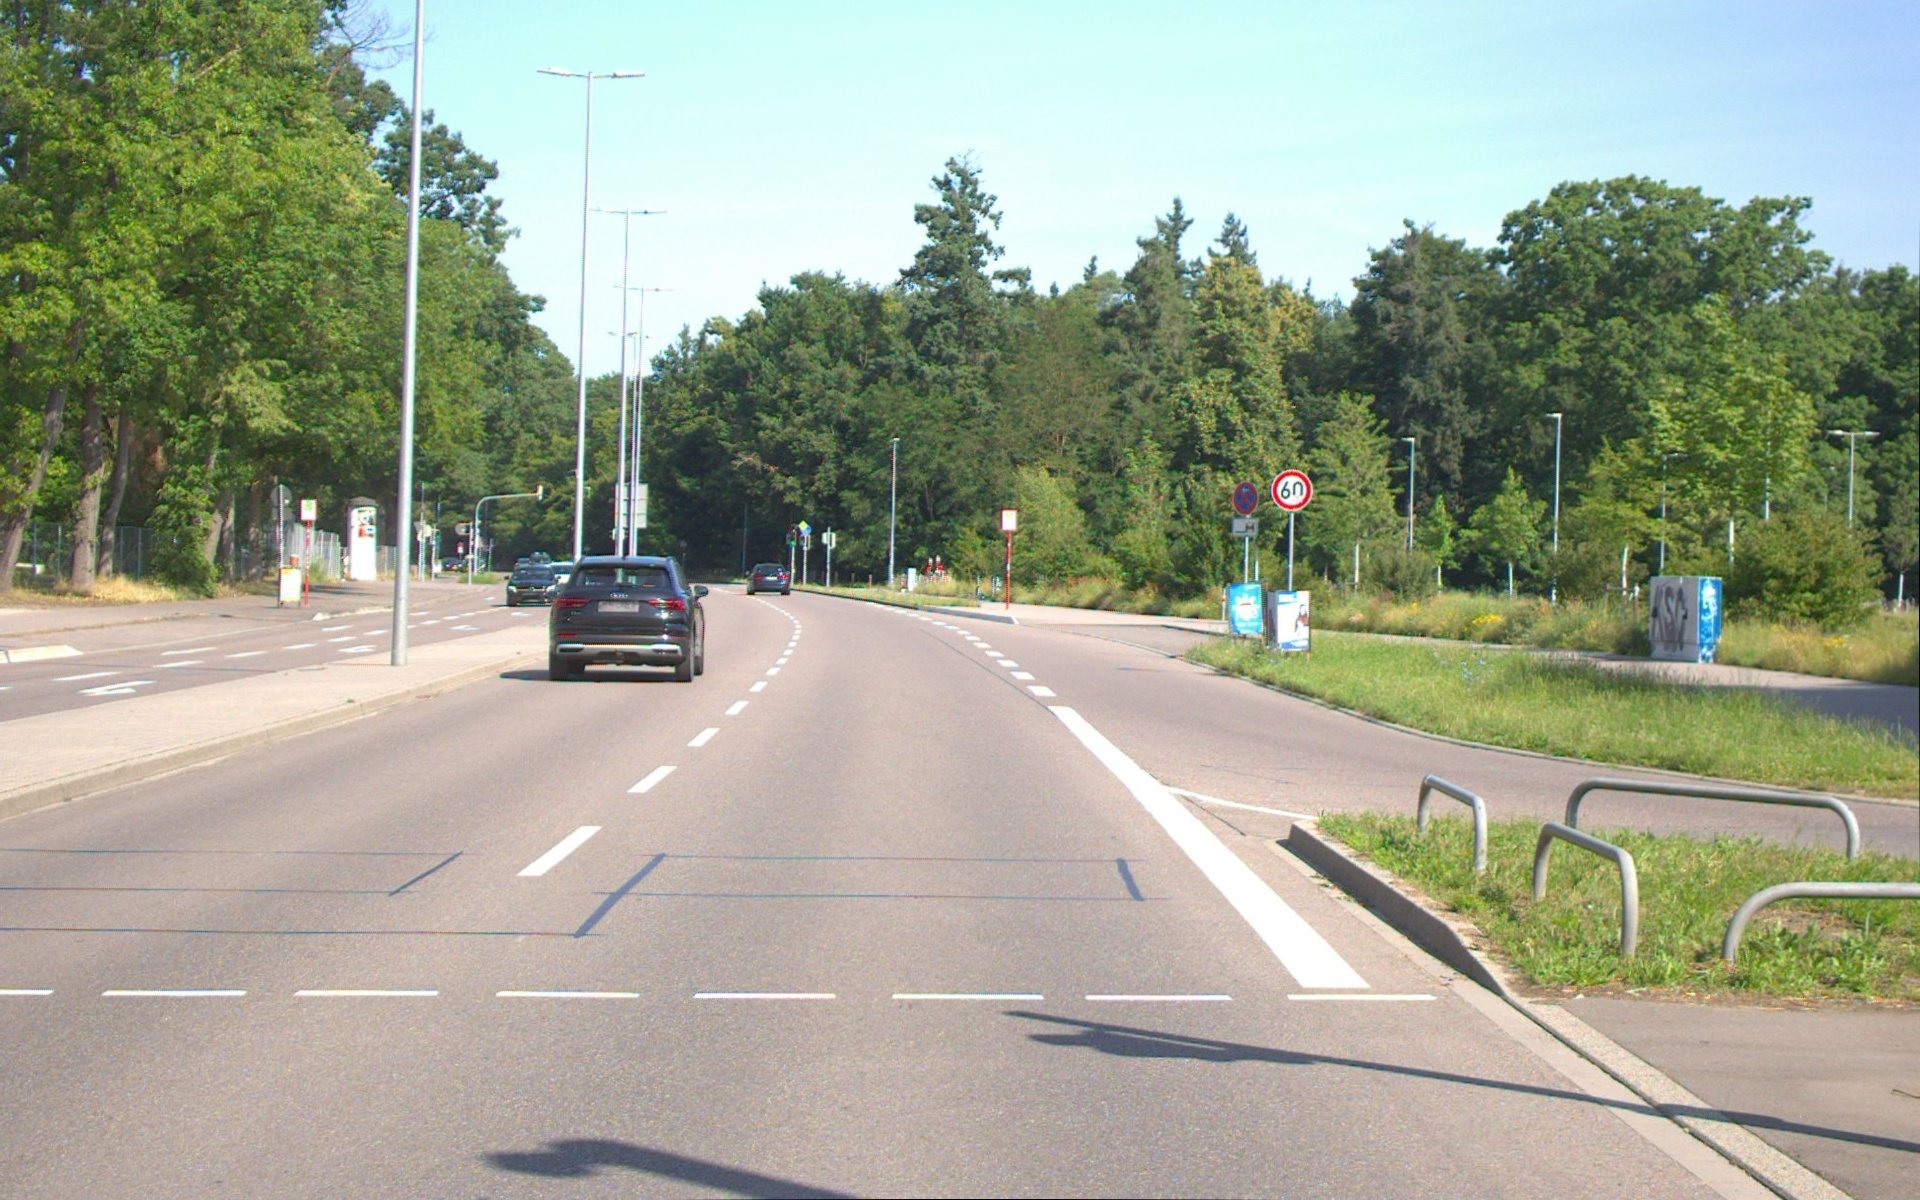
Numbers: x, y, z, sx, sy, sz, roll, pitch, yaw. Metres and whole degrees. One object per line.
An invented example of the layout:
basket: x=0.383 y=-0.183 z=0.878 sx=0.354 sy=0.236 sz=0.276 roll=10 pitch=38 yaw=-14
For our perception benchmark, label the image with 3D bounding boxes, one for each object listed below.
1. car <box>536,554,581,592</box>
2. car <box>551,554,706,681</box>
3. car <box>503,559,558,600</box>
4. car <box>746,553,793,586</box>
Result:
car: x=-15.995 y=-1.086 z=137.024 sx=1.622 sy=1.461 sz=3.801 roll=-1 pitch=1 yaw=-5
car: x=-4.219 y=0.187 z=44.240 sx=1.687 sy=1.539 sz=4.149 roll=0 pitch=1 yaw=-2
car: x=-15.040 y=-0.739 z=120.536 sx=1.810 sy=1.383 sz=4.162 roll=-1 pitch=1 yaw=-6
car: x=-8.633 y=-1.374 z=155.356 sx=1.940 sy=1.415 sz=4.294 roll=1 pitch=1 yaw=-5
